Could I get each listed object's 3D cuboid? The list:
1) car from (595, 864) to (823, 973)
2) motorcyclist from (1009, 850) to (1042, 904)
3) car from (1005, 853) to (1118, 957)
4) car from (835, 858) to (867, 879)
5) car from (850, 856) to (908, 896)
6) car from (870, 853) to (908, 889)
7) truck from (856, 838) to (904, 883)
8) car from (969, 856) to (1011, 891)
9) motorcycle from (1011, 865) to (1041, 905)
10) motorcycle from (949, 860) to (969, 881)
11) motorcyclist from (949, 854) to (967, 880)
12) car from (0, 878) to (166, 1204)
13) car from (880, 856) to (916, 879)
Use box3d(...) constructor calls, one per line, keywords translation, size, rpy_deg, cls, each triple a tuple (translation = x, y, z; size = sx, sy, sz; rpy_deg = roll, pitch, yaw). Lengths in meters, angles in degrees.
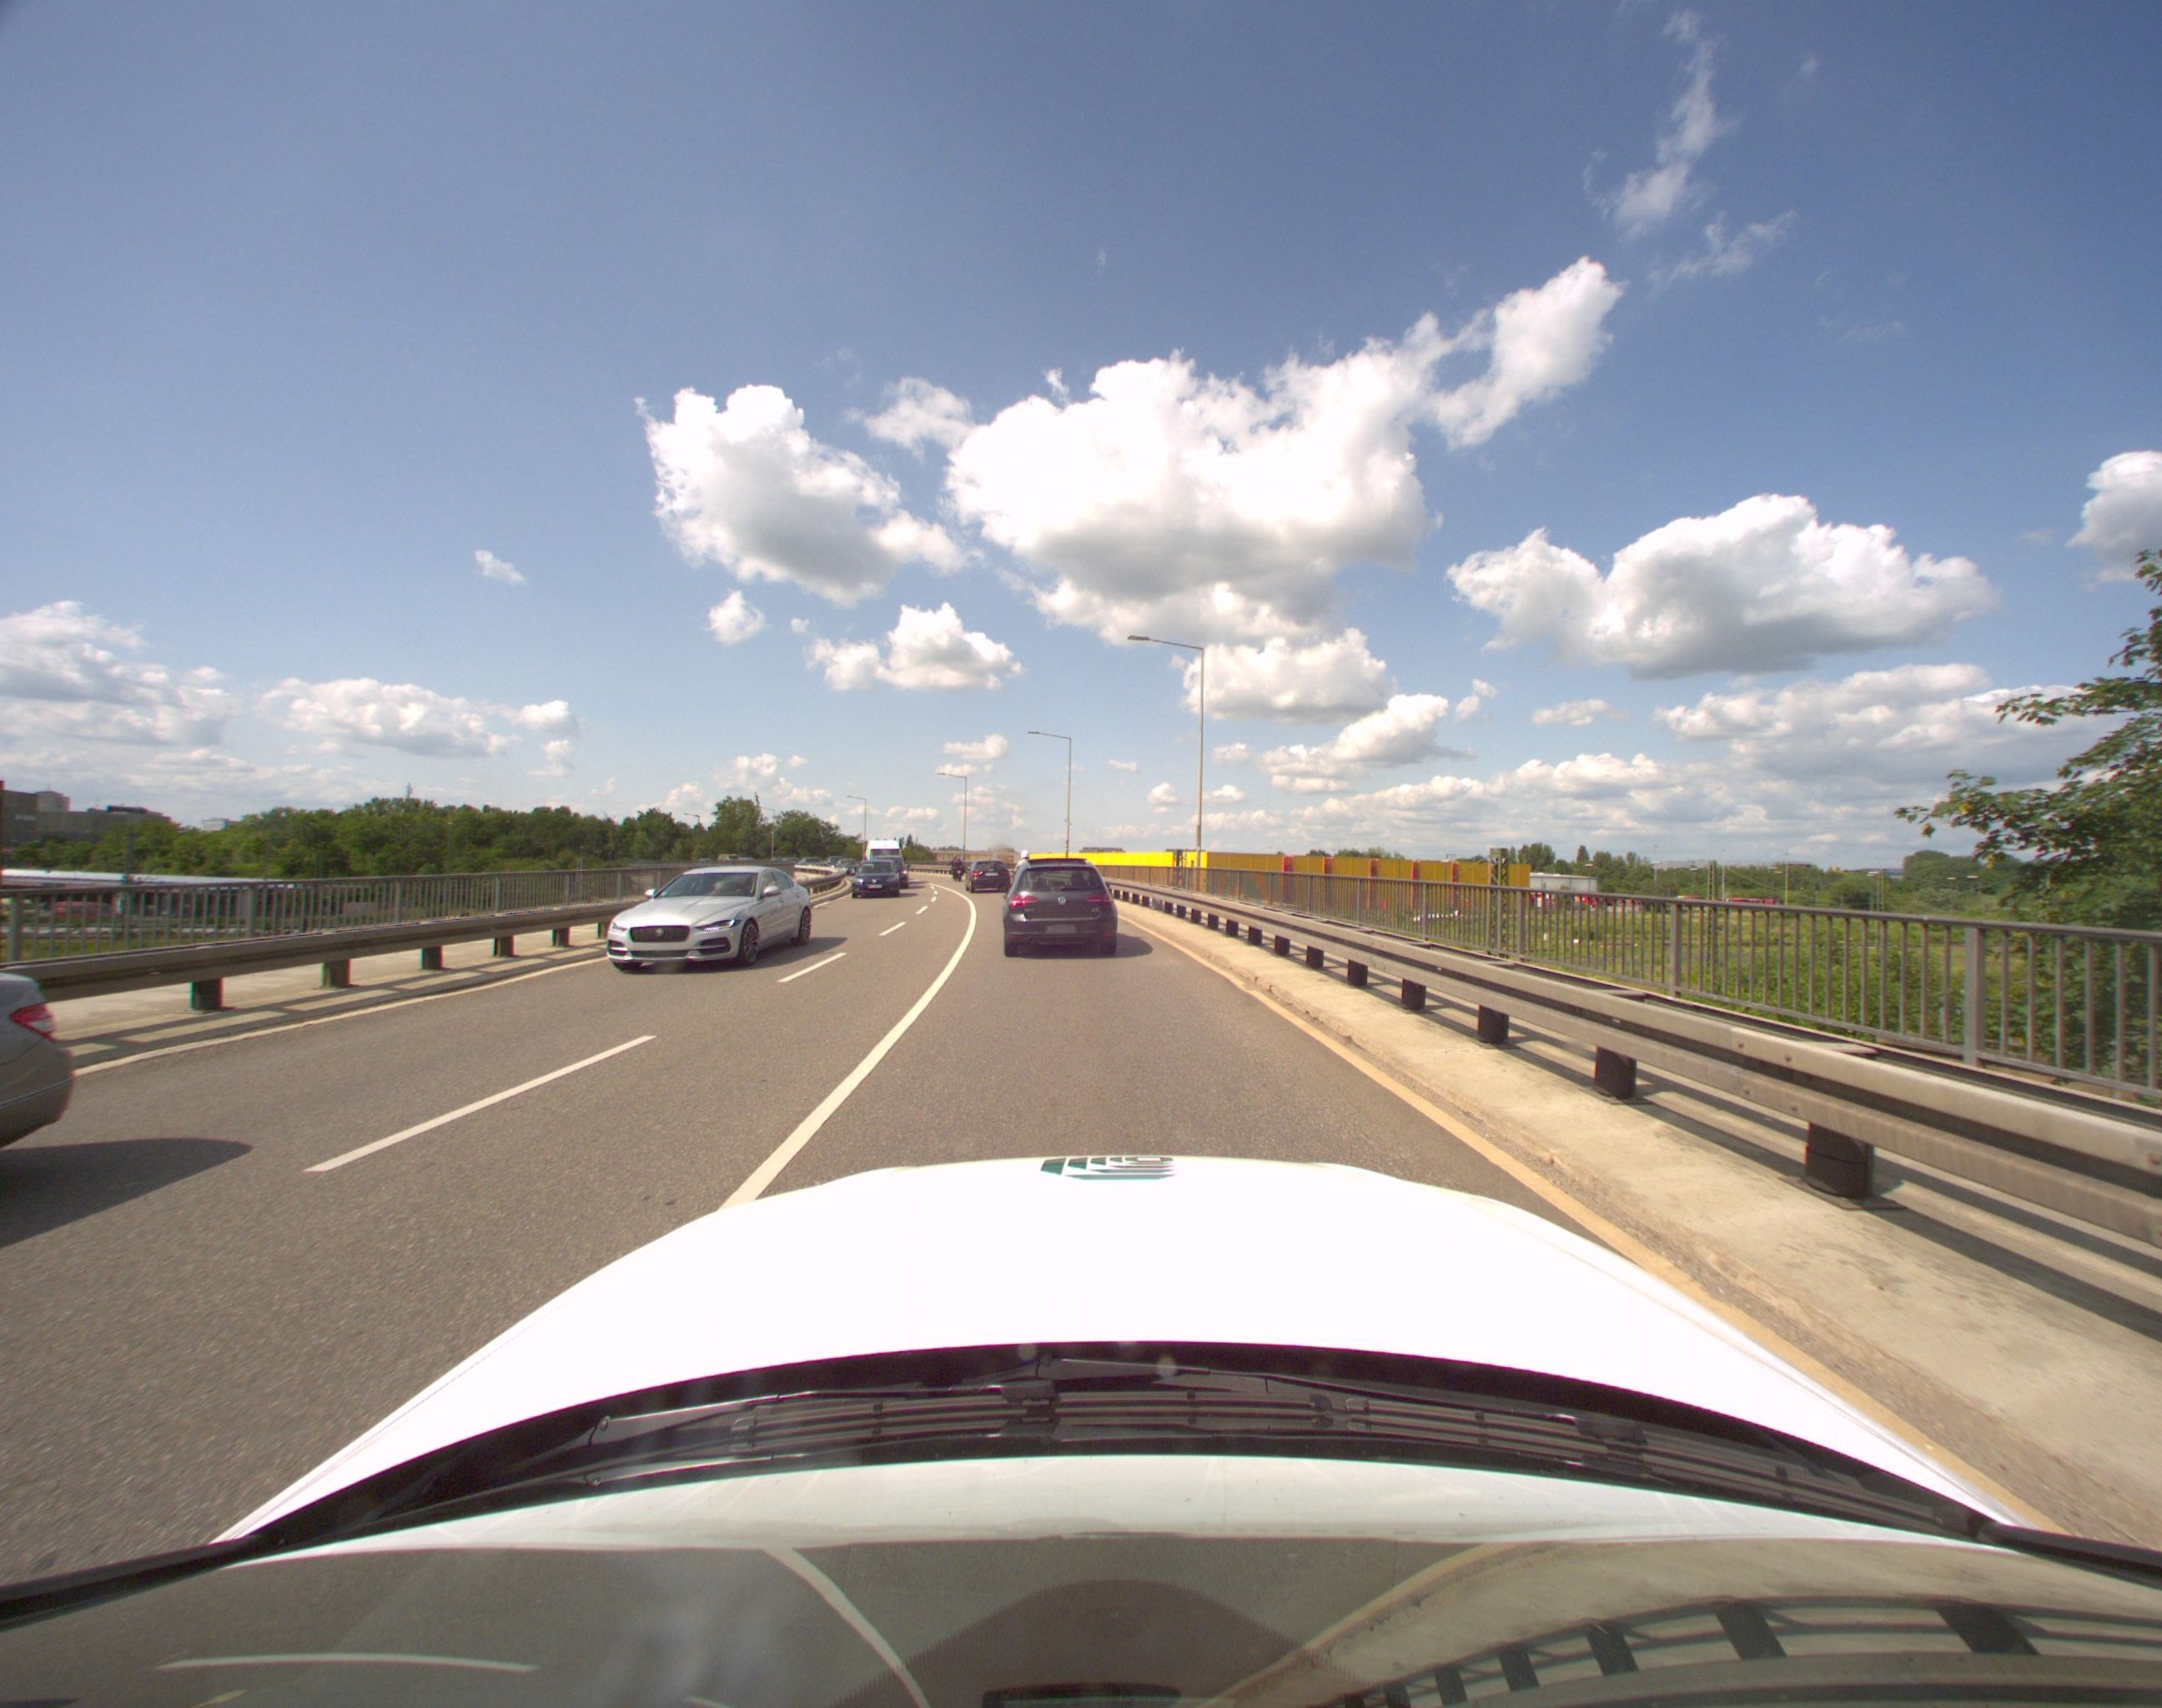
box3d(translation=(-5.650, 0.874, 13.081), size=(1.790, 1.375, 4.574), rpy_deg=(-1, 0, -4), cls="car")
box3d(translation=(-1.702, 0.689, 24.840), size=(0.965, 1.620, 1.122), rpy_deg=(0, 0, -7), cls="motorcyclist")
box3d(translation=(-0.428, 0.753, 13.713), size=(1.639, 1.479, 3.865), rpy_deg=(0, -1, -5), cls="car")
box3d(translation=(-19.002, 1.173, 67.190), size=(1.693, 1.596, 4.244), rpy_deg=(-2, 1, -27), cls="car")
box3d(translation=(-7.972, 0.821, 32.479), size=(1.657, 1.454, 4.316), rpy_deg=(-1, 0, -7), cls="car")
box3d(translation=(-9.644, 0.821, 40.982), size=(1.719, 1.632, 4.408), rpy_deg=(-1, 0, -13), cls="car")
box3d(translation=(-12.002, 0.354, 48.369), size=(2.001, 2.507, 5.905), rpy_deg=(-1, 0, -21), cls="truck")
box3d(translation=(-3.878, 0.817, 35.173), size=(1.679, 1.388, 3.732), rpy_deg=(-1, -1, -5), cls="car")
box3d(translation=(-1.689, 0.911, 24.742), size=(0.788, 1.132, 2.393), rpy_deg=(0, 0, -7), cls="motorcycle")
box3d(translation=(-7.462, 0.972, 49.670), size=(0.889, 1.247, 2.386), rpy_deg=(0, 0, -16), cls="motorcycle")
box3d(translation=(-7.523, 0.789, 49.842), size=(0.968, 1.596, 1.119), rpy_deg=(0, 0, -16), cls="motorcyclist")
box3d(translation=(-5.760, 0.857, 2.147), size=(1.742, 1.449, 4.337), rpy_deg=(-1, 0, 1), cls="car")
box3d(translation=(-12.909, 0.947, 57.230), size=(1.773, 1.460, 4.266), rpy_deg=(-2, 0, -22), cls="car")
